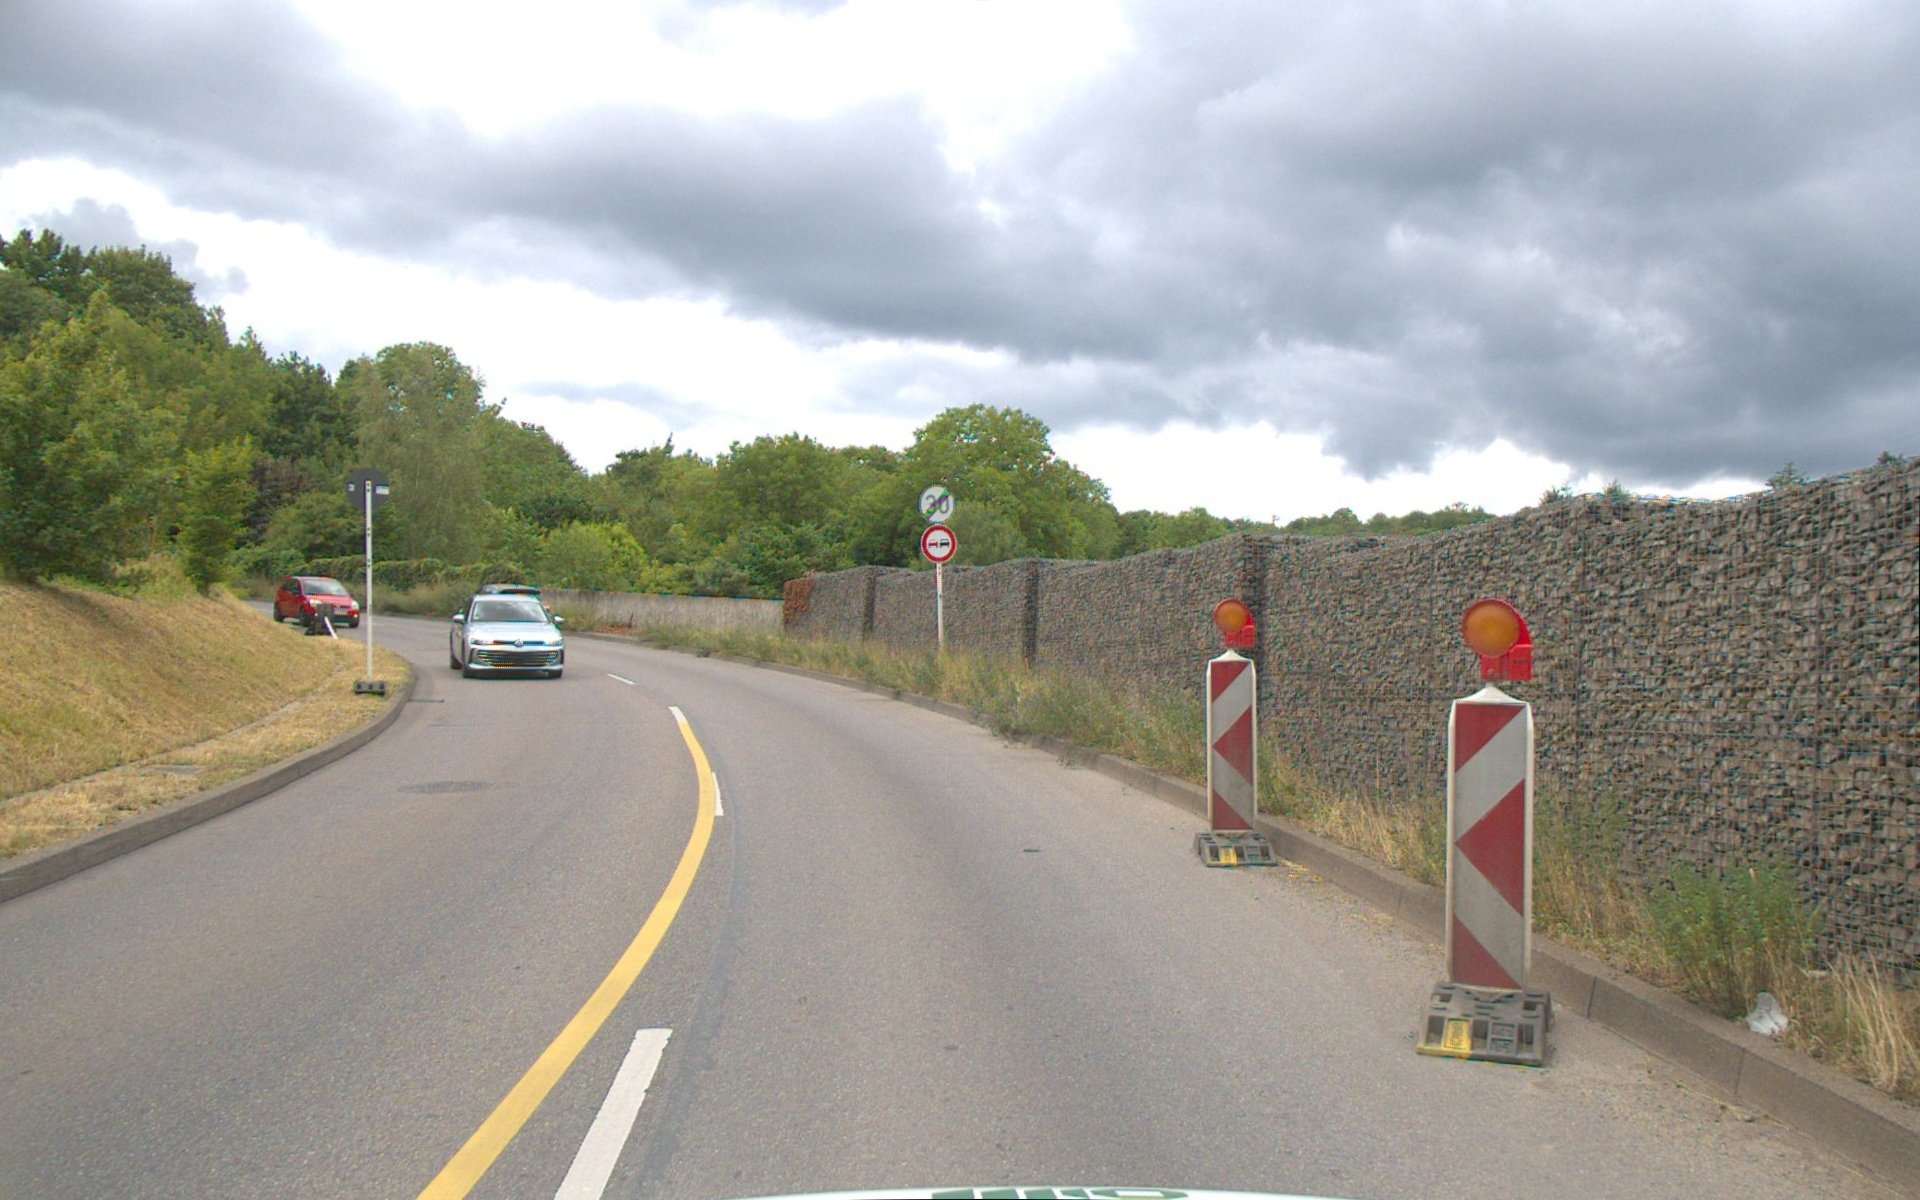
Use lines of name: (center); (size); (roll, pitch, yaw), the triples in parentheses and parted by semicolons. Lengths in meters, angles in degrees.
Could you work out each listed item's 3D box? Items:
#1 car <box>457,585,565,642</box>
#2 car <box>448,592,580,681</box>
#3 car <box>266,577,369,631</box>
car: (-12.785, 0.351, 46.949); (1.823, 1.509, 3.953); (0, 1, -34)
car: (-8.605, 0.626, 31.663); (1.856, 1.503, 4.569); (0, 1, -23)
car: (-19.815, 0.132, 50.958); (1.731, 1.441, 3.698); (9, -6, -40)
